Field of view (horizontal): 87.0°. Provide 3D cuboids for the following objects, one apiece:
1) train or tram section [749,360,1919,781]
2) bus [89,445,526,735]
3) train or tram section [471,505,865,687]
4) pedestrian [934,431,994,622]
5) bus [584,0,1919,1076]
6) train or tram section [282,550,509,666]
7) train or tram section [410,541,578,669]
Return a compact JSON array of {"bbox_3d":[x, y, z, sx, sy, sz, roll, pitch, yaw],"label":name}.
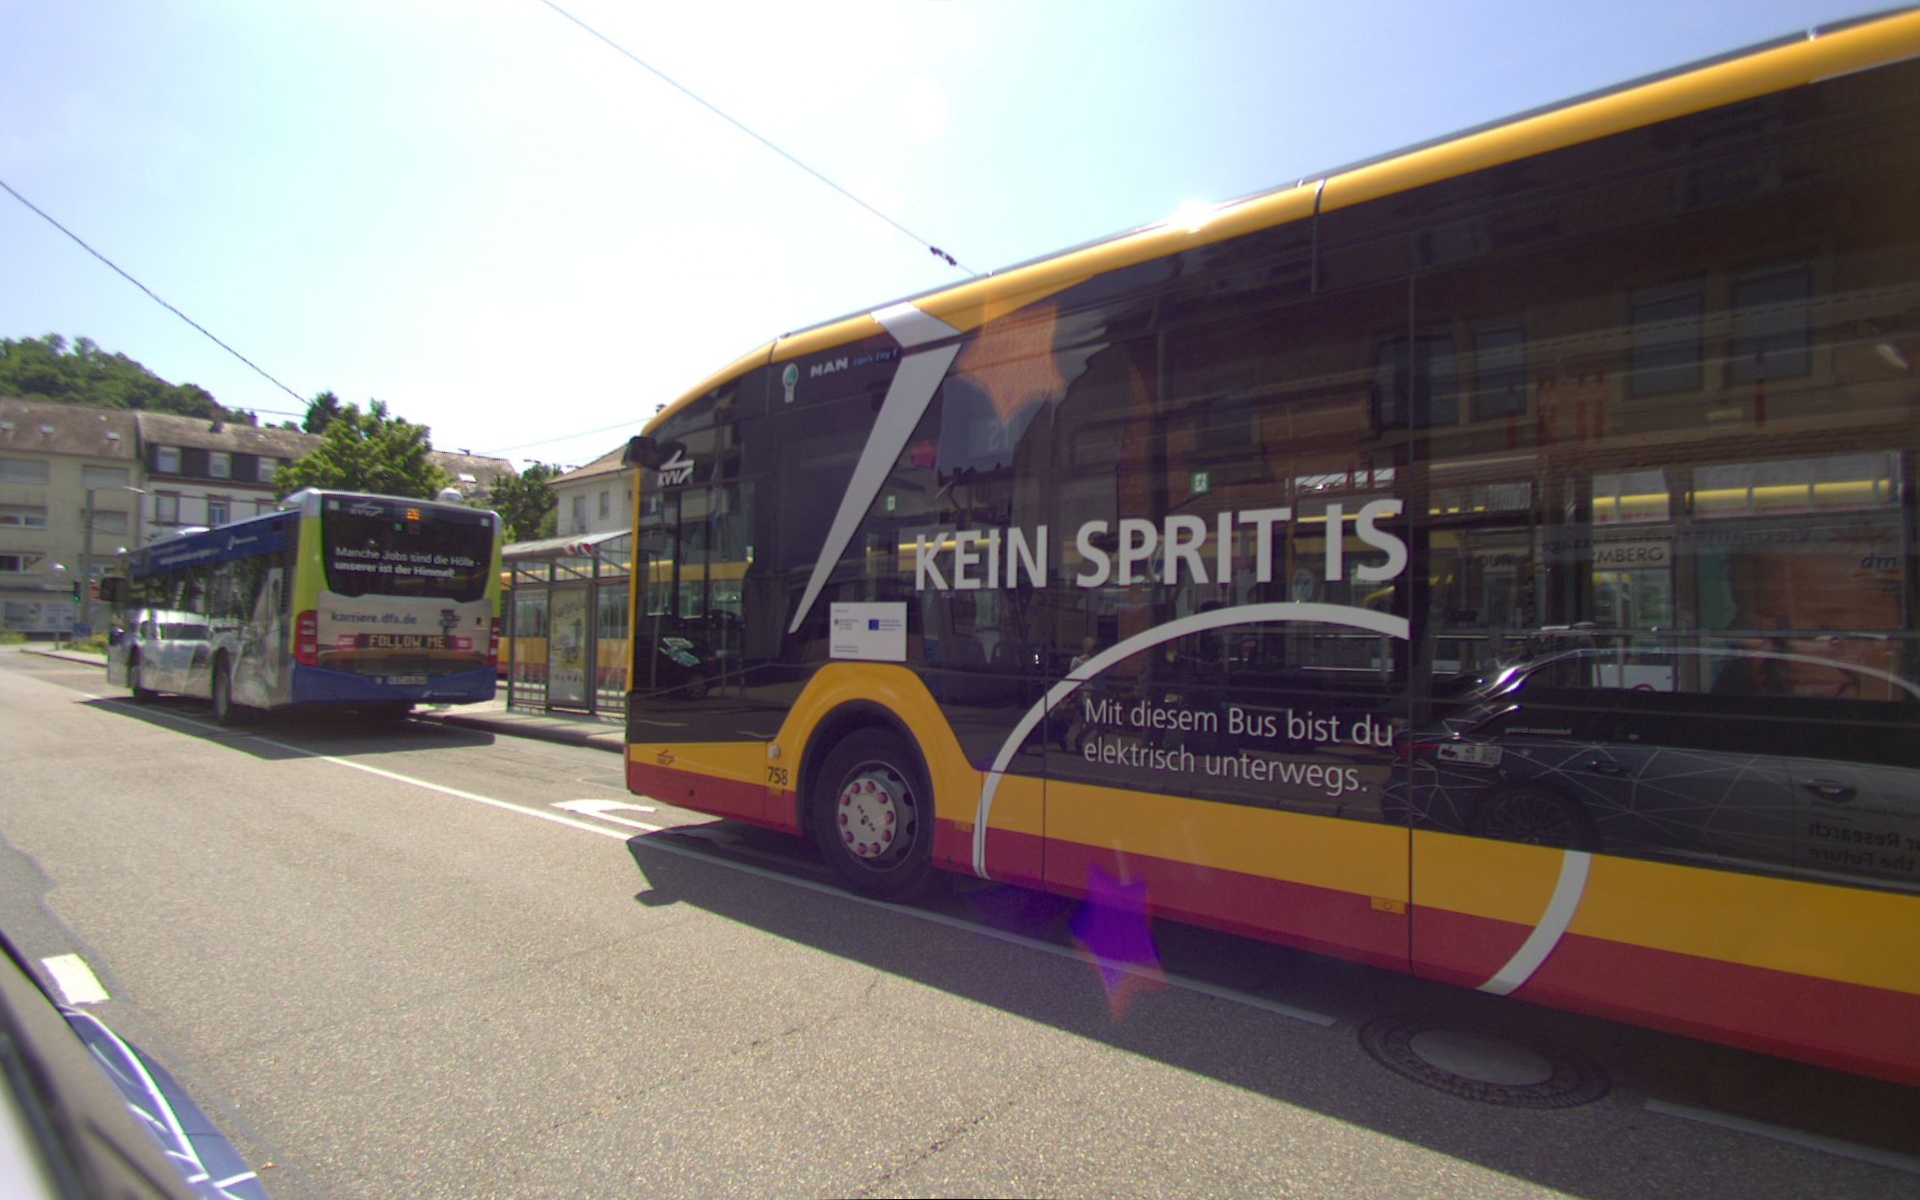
[{"bbox_3d":[3.376,-0.138,15.127,17.342,3.670,2.932,-1,-1,41],"label":"train or tram section"},{"bbox_3d":[-11.606,0.056,17.055,12.031,3.453,2.878,-2,-1,41],"label":"bus"},{"bbox_3d":[-7.767,0.017,24.866,12.650,3.521,2.932,-1,-1,41],"label":"train or tram section"},{"bbox_3d":[0.030,-0.691,9.911,0.566,1.790,0.783,0,0,-1],"label":"pedestrian"},{"bbox_3d":[2.951,-0.469,3.882,12.192,3.272,2.867,0,0,42],"label":"bus"},{"bbox_3d":[-20.395,0.333,35.958,12.706,3.521,2.932,-1,-1,41],"label":"train or tram section"},{"bbox_3d":[-14.019,0.227,30.405,4.415,3.522,2.932,-1,-3,41],"label":"train or tram section"}]
